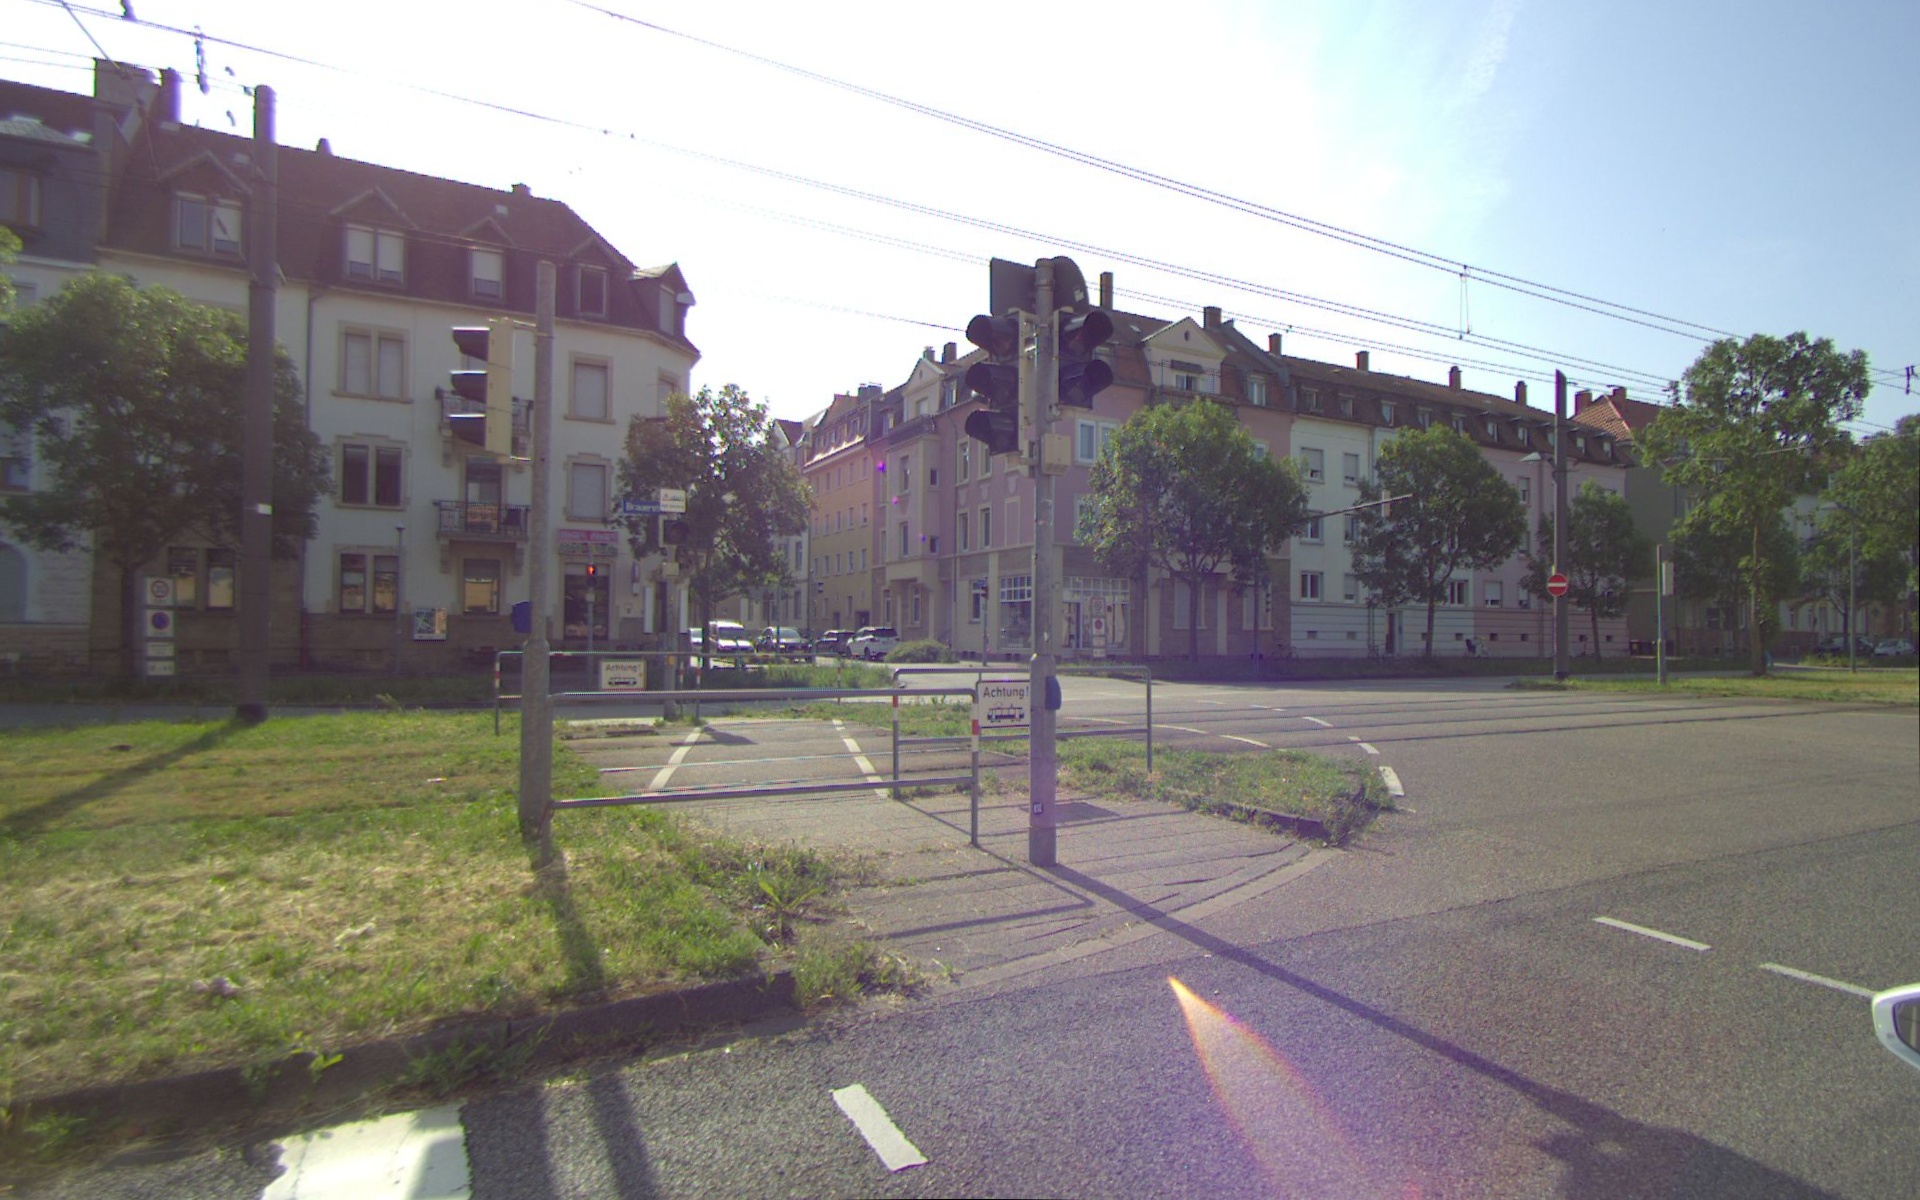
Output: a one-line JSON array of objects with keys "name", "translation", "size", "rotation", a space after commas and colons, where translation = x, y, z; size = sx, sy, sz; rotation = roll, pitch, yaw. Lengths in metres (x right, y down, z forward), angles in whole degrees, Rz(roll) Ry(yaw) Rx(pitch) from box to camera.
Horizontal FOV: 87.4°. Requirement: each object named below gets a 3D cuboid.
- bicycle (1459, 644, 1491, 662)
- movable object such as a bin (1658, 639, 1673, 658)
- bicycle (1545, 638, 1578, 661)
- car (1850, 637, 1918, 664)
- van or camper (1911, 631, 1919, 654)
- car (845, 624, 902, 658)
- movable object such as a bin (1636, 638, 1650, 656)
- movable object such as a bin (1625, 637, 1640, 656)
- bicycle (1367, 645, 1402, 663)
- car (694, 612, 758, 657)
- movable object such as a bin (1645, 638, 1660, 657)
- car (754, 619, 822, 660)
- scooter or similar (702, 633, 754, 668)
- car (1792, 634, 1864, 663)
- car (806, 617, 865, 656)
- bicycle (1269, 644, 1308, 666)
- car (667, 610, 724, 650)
[{"name": "bicycle", "translation": [25.927, 2.648, 50.591], "size": [1.924, 0.868, 0.445], "rotation": [2, 0, -30]}, {"name": "movable object such as a bin", "translation": [47.470, 3.259, 67.626], "size": [0.633, 1.227, 0.582], "rotation": [2, 0, -29]}, {"name": "bicycle", "translation": [32.360, 2.664, 54.030], "size": [1.924, 1.143, 0.601], "rotation": [2, 0, -30]}, {"name": "car", "translation": [61.132, 3.342, 66.443], "size": [4.100, 1.650, 1.884], "rotation": [2, 0, -26]}, {"name": "van or camper", "translation": [67.945, 3.015, 68.409], "size": [1.962, 1.645, 4.852], "rotation": [2, 0, 5]}, {"name": "car", "translation": [-4.377, 2.048, 50.435], "size": [1.551, 1.481, 3.382], "rotation": [2, 0, -29]}, {"name": "movable object such as a bin", "translation": [46.767, 3.233, 68.789], "size": [0.633, 1.227, 0.582], "rotation": [2, 0, -29]}, {"name": "movable object such as a bin", "translation": [46.444, 3.221, 69.361], "size": [0.633, 1.227, 0.582], "rotation": [2, 0, -29]}, {"name": "bicycle", "translation": [20.060, 2.569, 47.424], "size": [1.924, 0.799, 0.435], "rotation": [2, 0, -30]}, {"name": "car", "translation": [-10.803, 1.569, 46.186], "size": [1.812, 1.874, 3.968], "rotation": [2, 0, -29]}, {"name": "movable object such as a bin", "translation": [47.045, 3.243, 68.228], "size": [0.633, 1.227, 0.582], "rotation": [2, 0, -29]}, {"name": "car", "translation": [-7.946, 1.783, 46.160], "size": [1.812, 1.642, 3.968], "rotation": [2, 0, -29]}, {"name": "scooter or similar", "translation": [-7.564, 1.620, 32.741], "size": [0.731, 1.083, 1.481], "rotation": [2, 0, 40]}, {"name": "car", "translation": [55.057, 3.071, 63.671], "size": [4.718, 1.650, 1.984], "rotation": [2, 0, -30]}, {"name": "car", "translation": [-6.825, 1.960, 54.798], "size": [1.812, 1.874, 3.968], "rotation": [2, 0, -29]}, {"name": "bicycle", "translation": [14.489, 2.429, 44.280], "size": [1.924, 0.900, 0.465], "rotation": [2, 0, -30]}, {"name": "car", "translation": [-13.557, 1.512, 51.367], "size": [1.812, 1.874, 3.968], "rotation": [2, 0, -29]}]
